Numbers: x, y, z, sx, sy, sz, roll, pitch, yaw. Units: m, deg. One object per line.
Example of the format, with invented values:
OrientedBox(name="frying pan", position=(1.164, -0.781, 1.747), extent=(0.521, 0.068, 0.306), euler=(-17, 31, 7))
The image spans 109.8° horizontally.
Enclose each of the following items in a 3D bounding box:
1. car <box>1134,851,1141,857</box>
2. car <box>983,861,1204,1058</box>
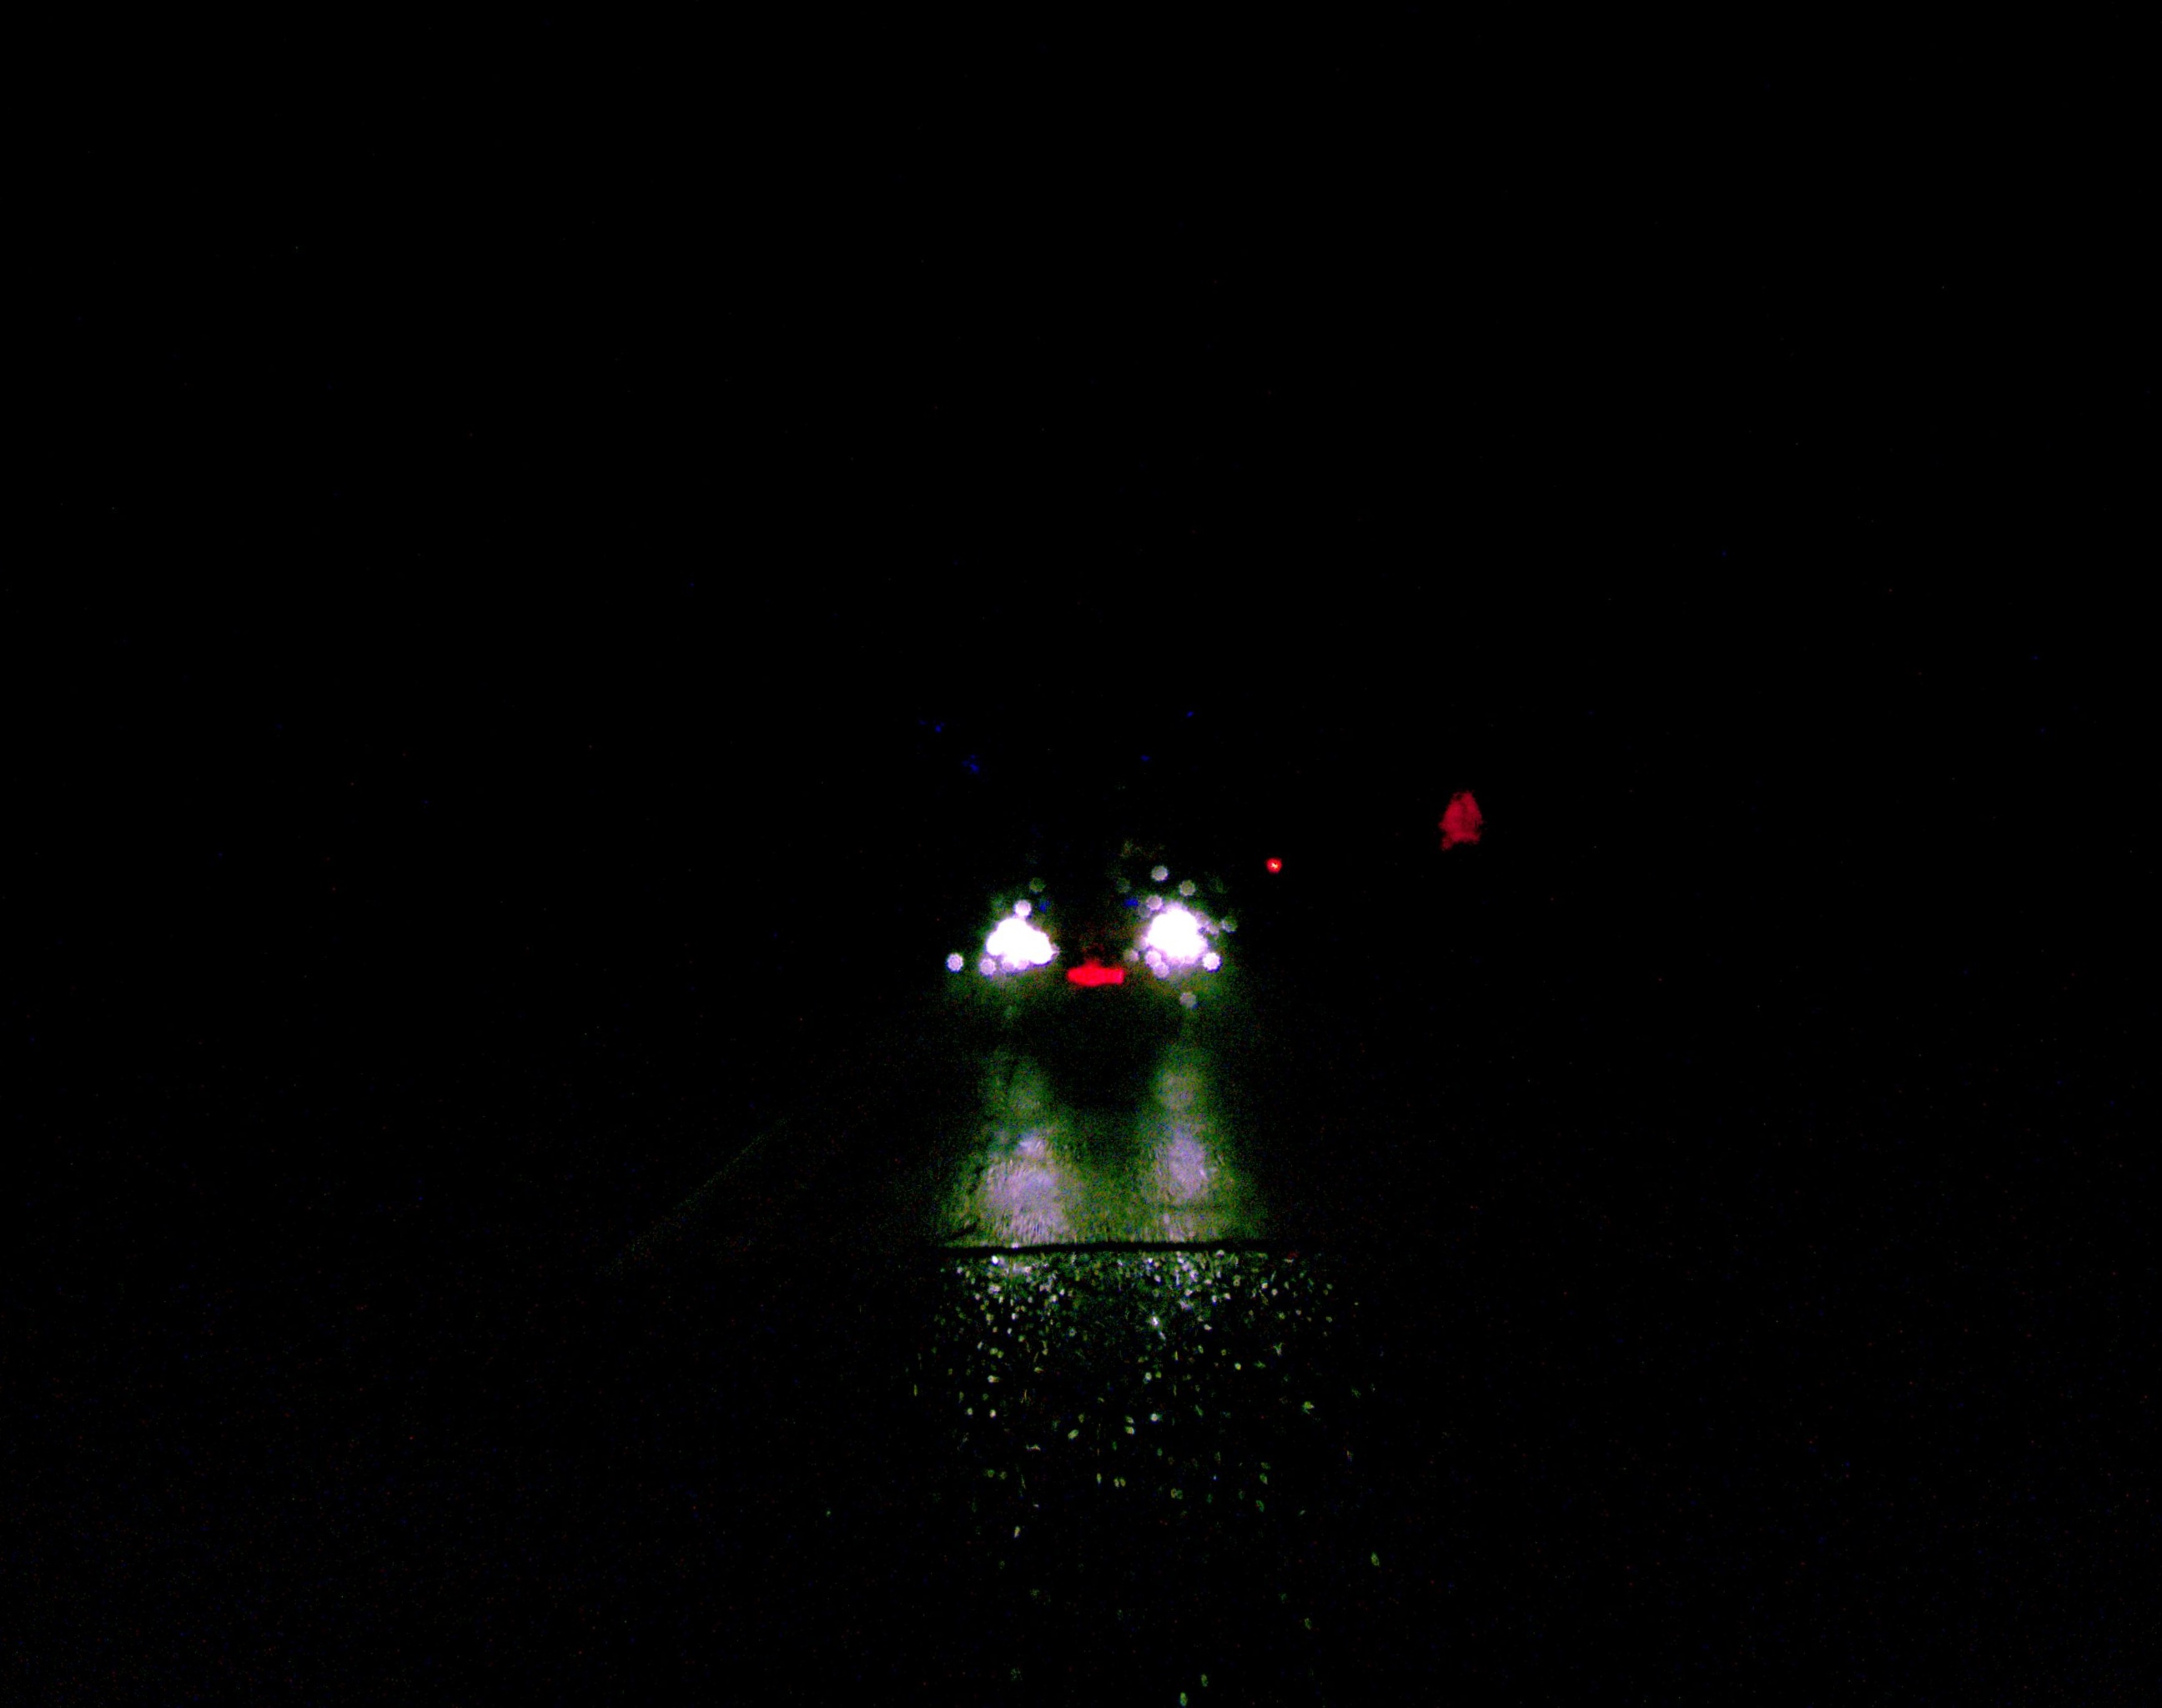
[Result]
OrientedBox(name="car", position=(17.587, -0.049, 236.044), extent=(1.845, 1.565, 4.000), euler=(-2, 1, 3))
OrientedBox(name="car", position=(0.202, 0.931, 8.528), extent=(1.845, 1.565, 4.000), euler=(-2, 1, 3))
